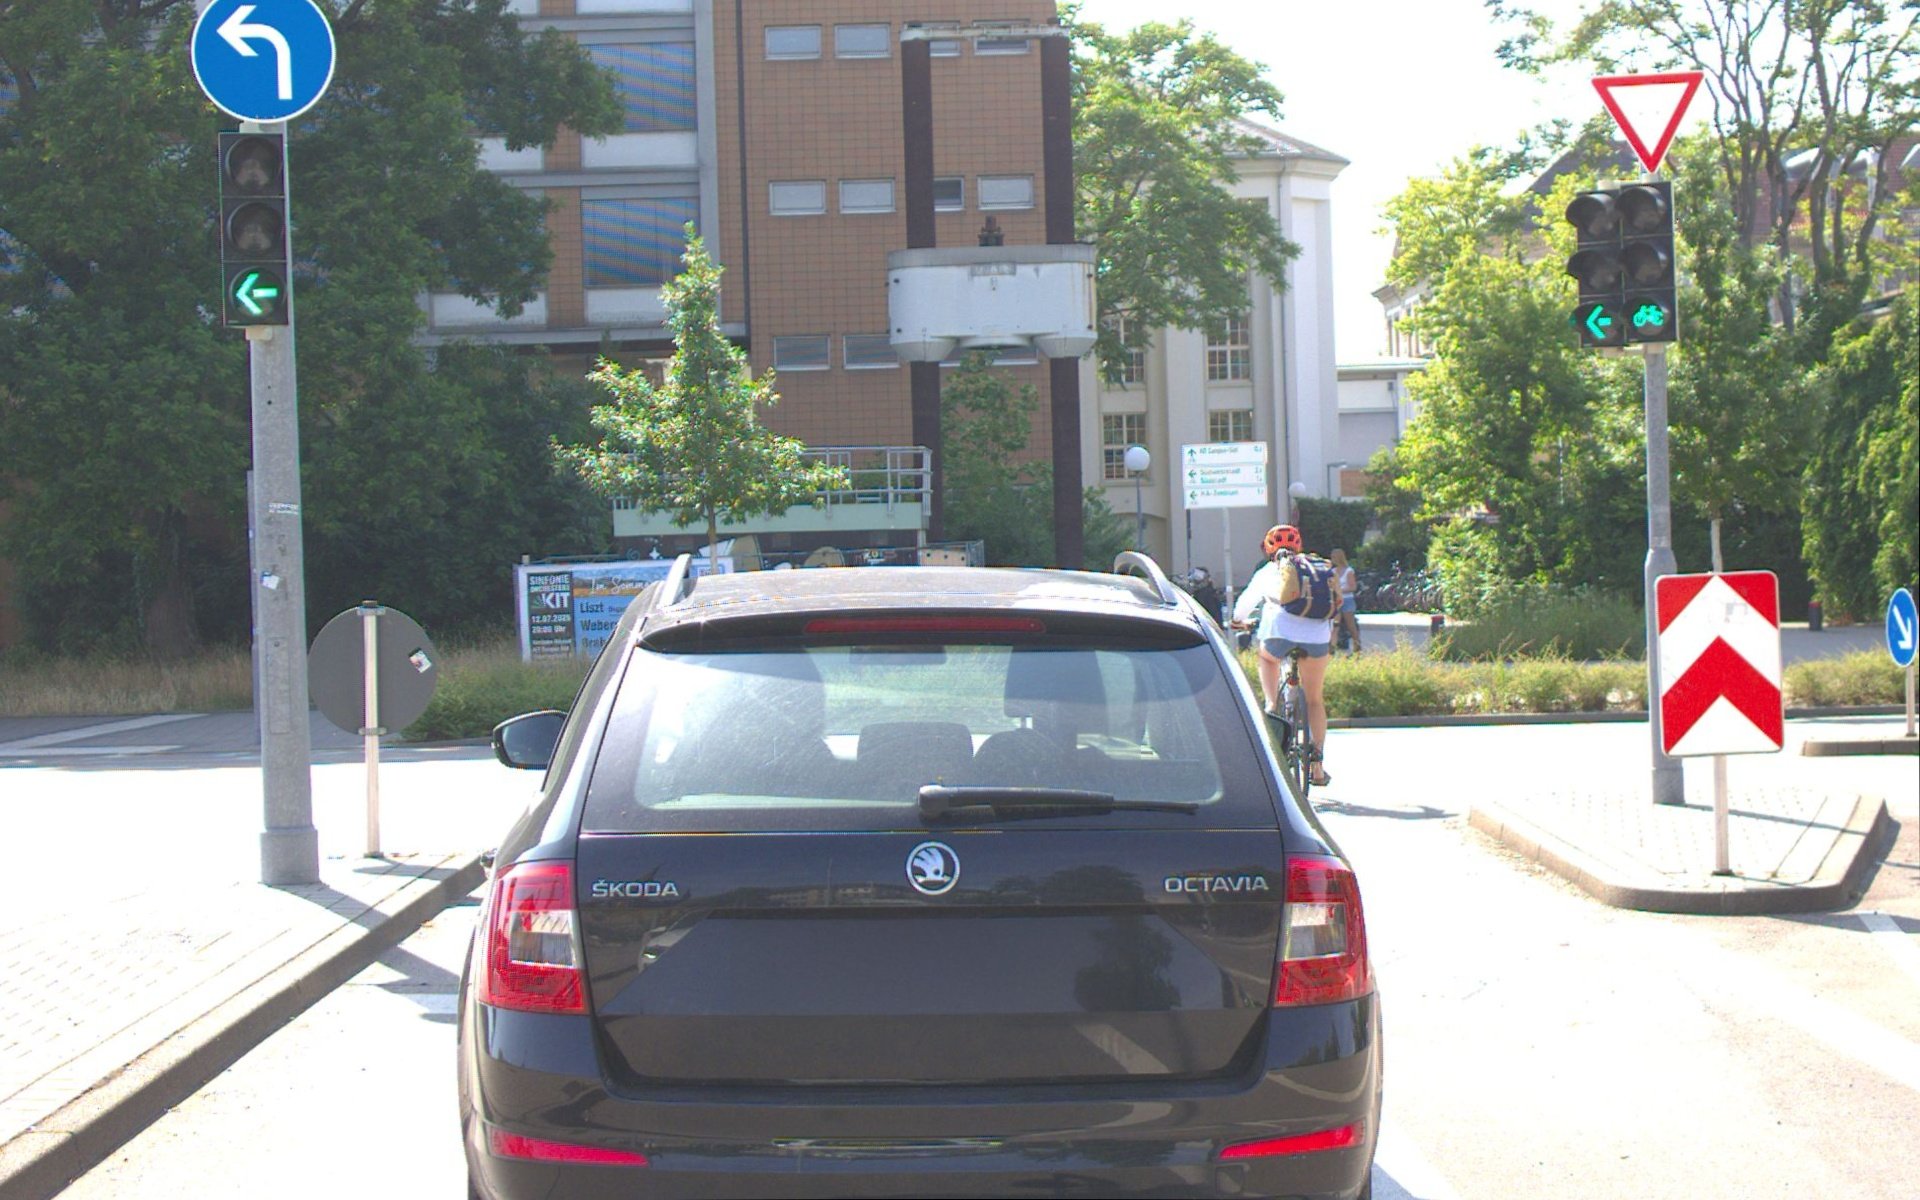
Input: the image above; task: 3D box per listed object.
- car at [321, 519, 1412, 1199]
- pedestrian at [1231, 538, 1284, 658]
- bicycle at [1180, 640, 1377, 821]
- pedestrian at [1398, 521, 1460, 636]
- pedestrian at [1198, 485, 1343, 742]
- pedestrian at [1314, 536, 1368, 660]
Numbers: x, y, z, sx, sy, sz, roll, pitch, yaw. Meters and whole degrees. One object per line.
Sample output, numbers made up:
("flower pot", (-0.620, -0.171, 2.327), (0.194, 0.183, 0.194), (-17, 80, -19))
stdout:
("car", (-0.159, 0.566, 7.526), (1.780, 1.438, 3.818), (0, 1, 0))
("pedestrian", (4.679, -0.036, 54.040), (0.597, 1.868, 0.638), (-2, 0, 23))
("bicycle", (1.834, 0.737, 20.091), (0.596, 0.928, 2.029), (0, 1, -11))
("pedestrian", (7.841, -0.359, 57.469), (0.794, 1.868, 0.638), (-3, 1, 22))
("pedestrian", (1.809, 0.074, 20.124), (0.583, 1.461, 1.014), (0, 0, -10))
("pedestrian", (5.865, -0.041, 52.915), (0.637, 1.868, 0.796), (-3, 1, -1))
